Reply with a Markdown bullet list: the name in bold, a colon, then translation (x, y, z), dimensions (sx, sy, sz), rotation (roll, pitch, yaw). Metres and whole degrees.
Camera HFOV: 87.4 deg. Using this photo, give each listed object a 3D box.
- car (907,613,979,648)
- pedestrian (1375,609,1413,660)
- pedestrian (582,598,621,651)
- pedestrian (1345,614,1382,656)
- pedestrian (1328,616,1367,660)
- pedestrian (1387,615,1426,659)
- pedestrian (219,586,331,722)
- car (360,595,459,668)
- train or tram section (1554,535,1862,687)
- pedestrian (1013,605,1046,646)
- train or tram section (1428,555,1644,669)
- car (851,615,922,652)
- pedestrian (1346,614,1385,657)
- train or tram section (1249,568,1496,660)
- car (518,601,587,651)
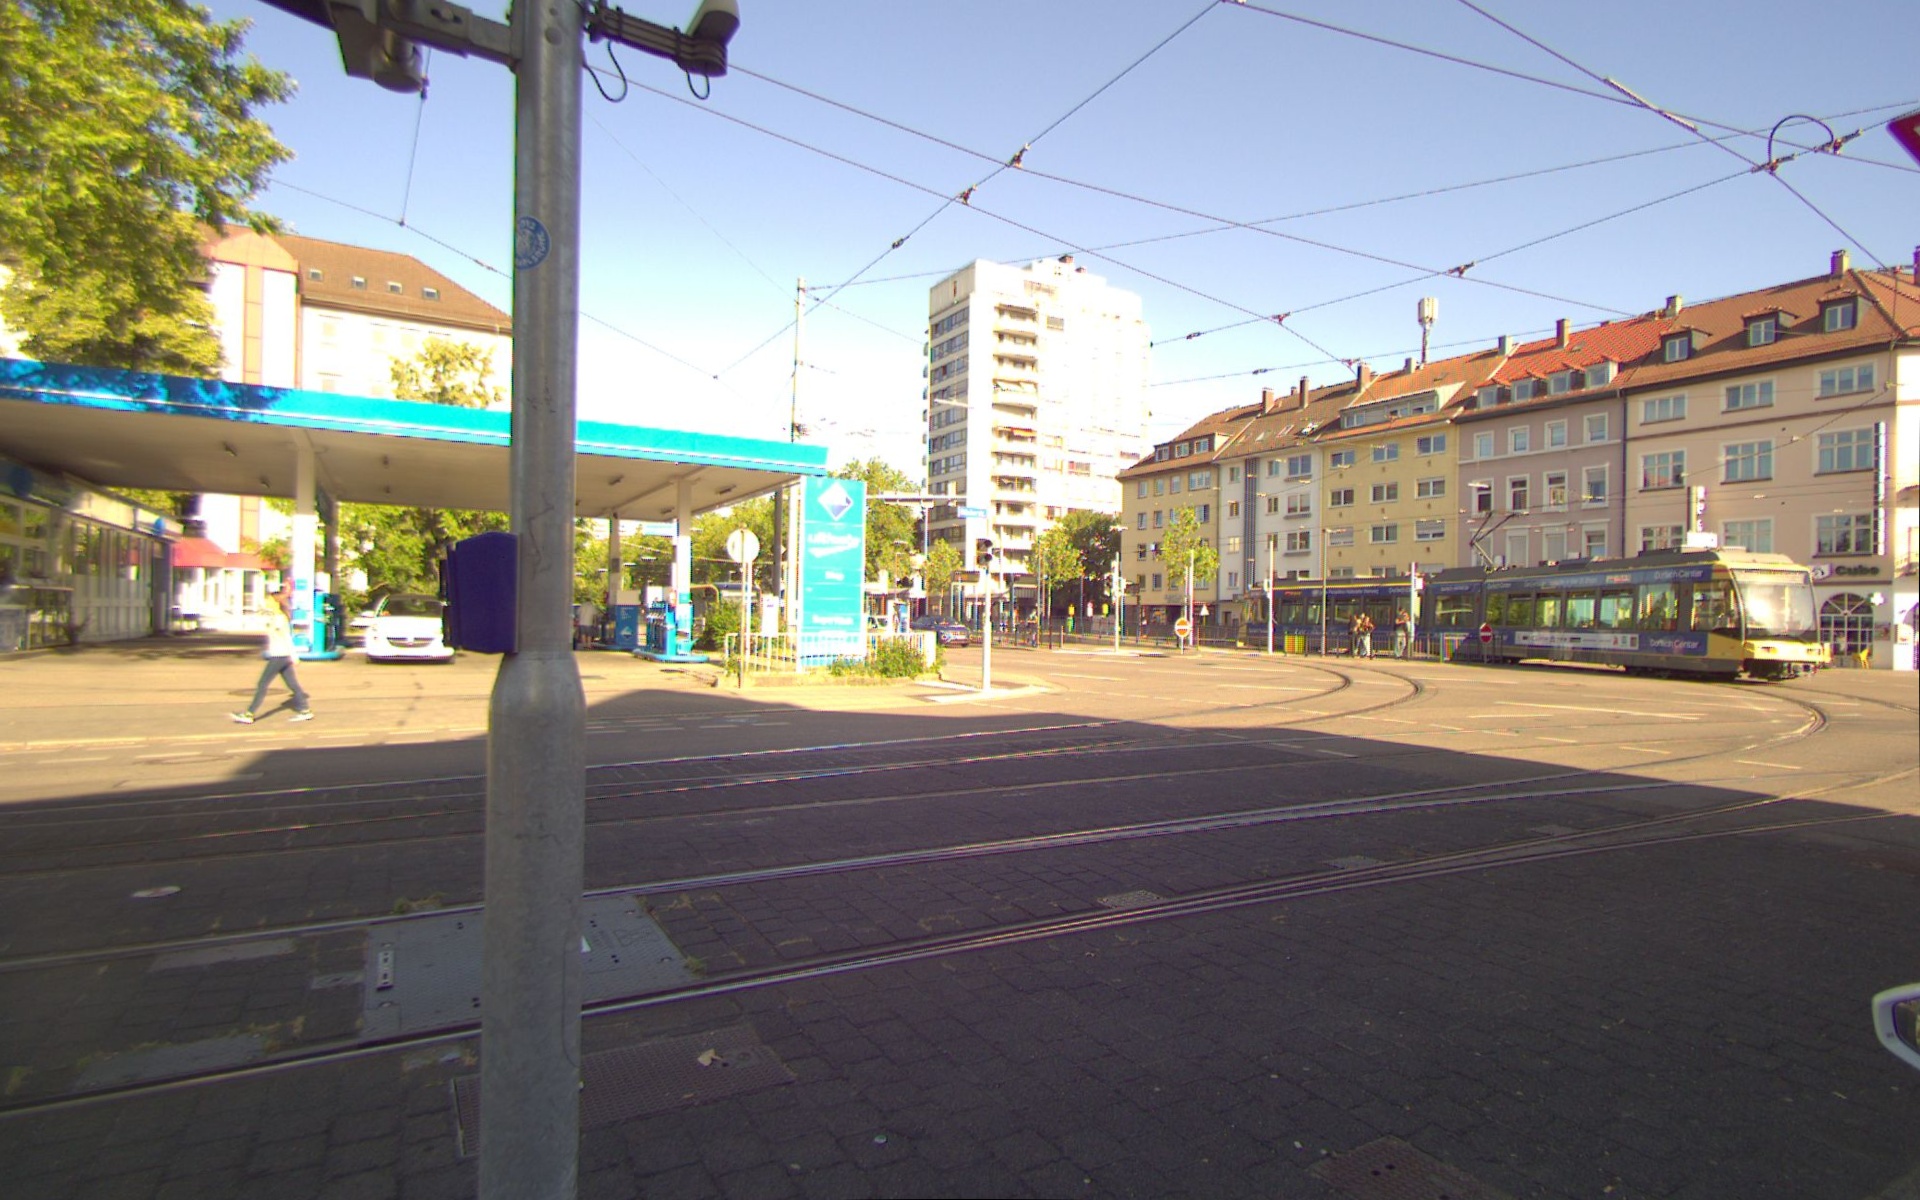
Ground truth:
- **car**: translation (-0.852, 1.430, 48.321), dimensions (1.863, 1.601, 3.971), rotation (1, -1, -28)
- **pedestrian**: translation (15.692, 1.242, 36.313), dimensions (1.002, 1.798, 0.930), rotation (2, -1, -42)
- **pedestrian**: translation (-11.547, 0.788, 32.331), dimensions (1.146, 1.647, 0.808), rotation (1, -1, -21)
- **pedestrian**: translation (15.747, 1.355, 39.254), dimensions (0.925, 1.619, 1.007), rotation (1, -1, -13)
- **pedestrian**: translation (14.541, 1.410, 37.733), dimensions (0.992, 1.619, 0.939), rotation (1, -1, -14)
- **pedestrian**: translation (16.608, 1.372, 37.361), dimensions (0.924, 1.619, 1.008), rotation (1, -1, -8)
- **pedestrian**: translation (-8.662, 0.667, 12.755), dimensions (1.093, 1.641, 0.710), rotation (1, -1, -30)
- **car**: translation (-12.361, 0.667, 22.533), dimensions (1.760, 1.483, 3.968), rotation (1, -1, -30)
- **train or tram section**: translation (19.974, 0.308, 27.636), dimensions (2.767, 3.546, 7.965), rotation (1, -1, 2)
- **pedestrian**: translation (3.285, 1.211, 47.459), dimensions (1.156, 1.870, 1.098), rotation (2, -1, -28)
- **train or tram section**: translation (20.051, 0.452, 35.735), dimensions (2.768, 3.546, 8.462), rotation (1, -1, 0)
- **car**: translation (-3.476, 1.530, 46.740), dimensions (1.863, 1.601, 3.971), rotation (1, -1, -28)
- **pedestrian**: translation (15.421, 1.337, 38.223), dimensions (0.994, 1.619, 0.937), rotation (1, -1, -19)
- **train or tram section**: translation (17.855, 0.630, 45.014), dimensions (2.738, 3.546, 11.969), rotation (1, -1, -21)
- **car**: translation (-13.450, 0.840, 33.018), dimensions (1.725, 1.431, 4.061), rotation (5, -2, -26)
